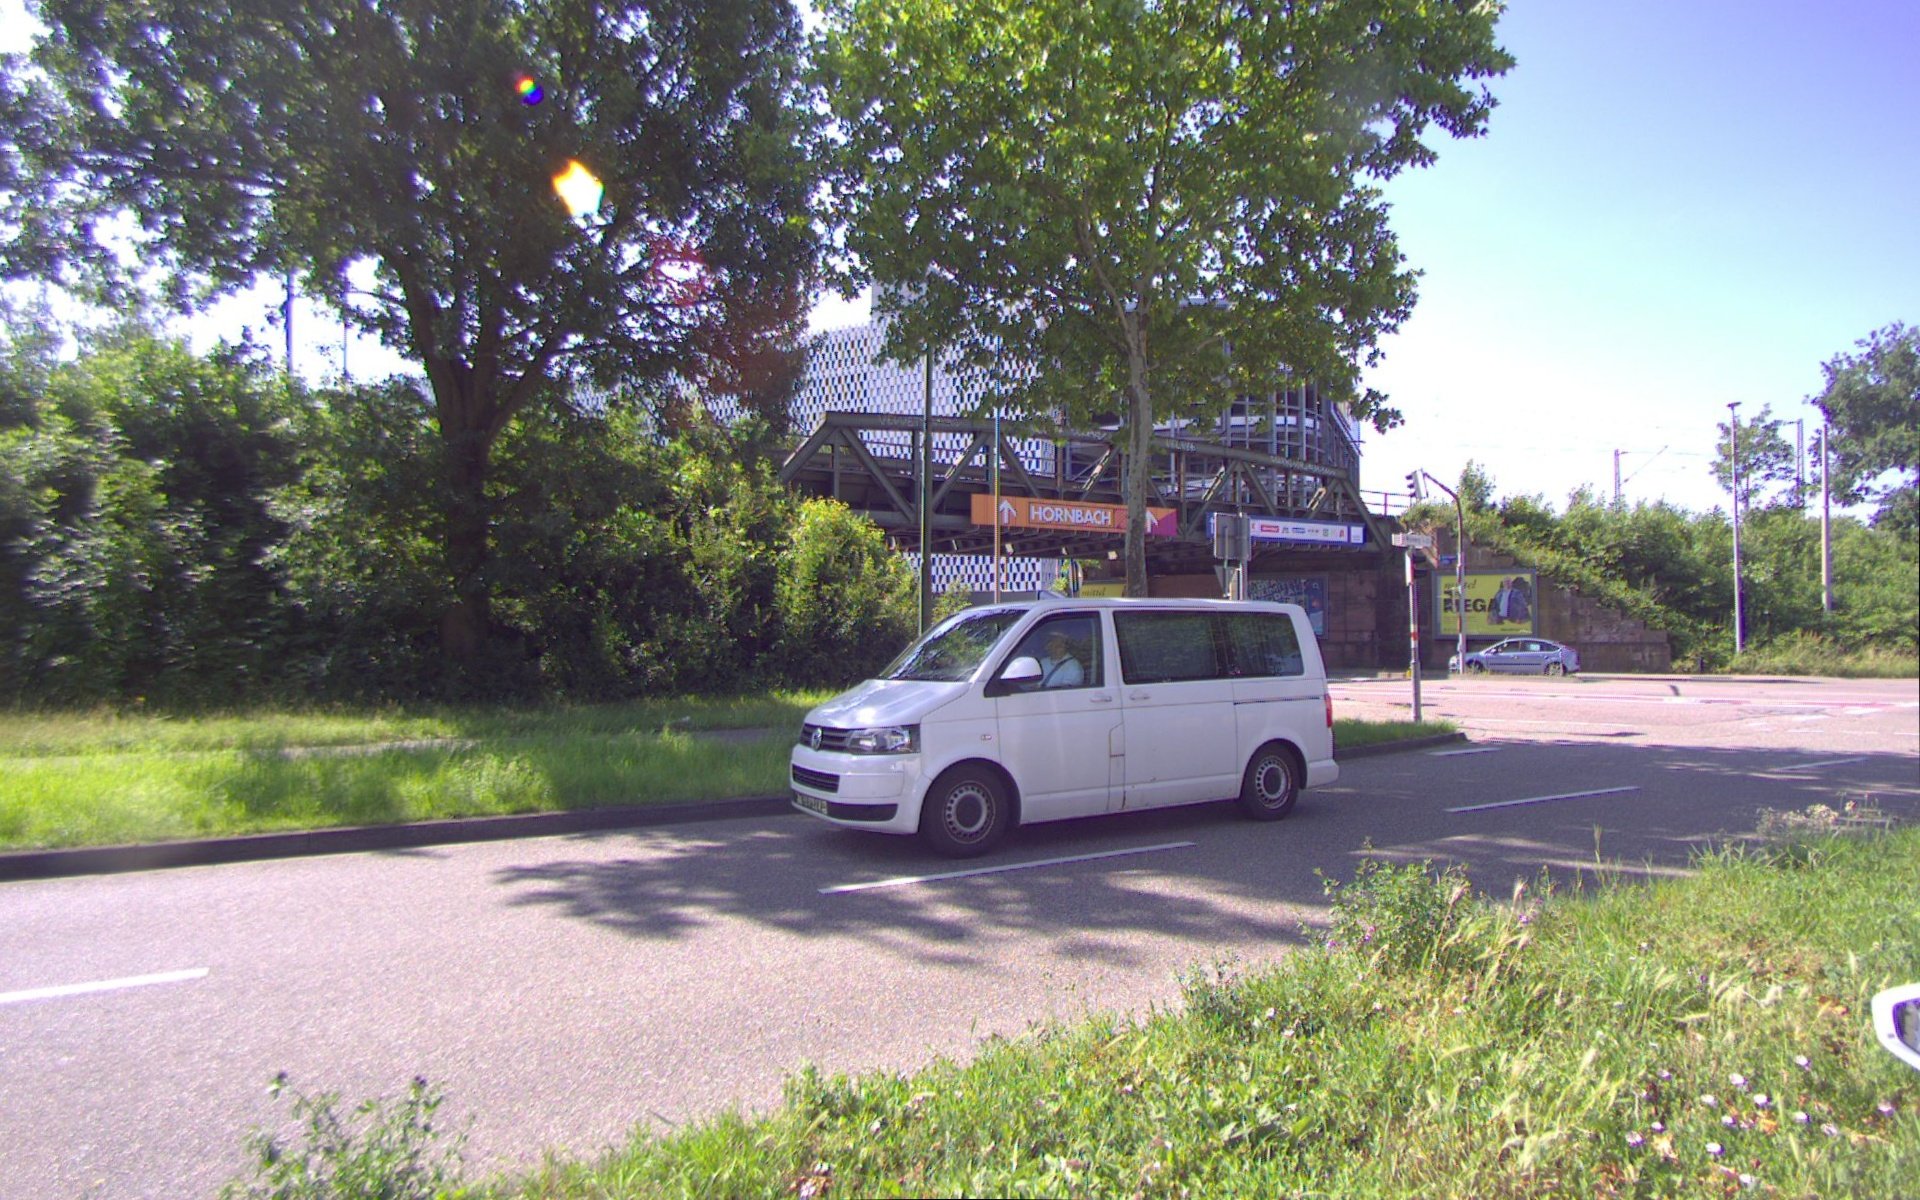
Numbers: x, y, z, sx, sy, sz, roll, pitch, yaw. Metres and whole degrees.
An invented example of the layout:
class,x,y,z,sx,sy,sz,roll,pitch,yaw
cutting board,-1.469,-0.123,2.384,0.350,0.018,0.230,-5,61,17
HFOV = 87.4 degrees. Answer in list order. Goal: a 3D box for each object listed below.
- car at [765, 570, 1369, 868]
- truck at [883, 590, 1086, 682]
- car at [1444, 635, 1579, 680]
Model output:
class,x,y,z,sx,sy,sz,roll,pitch,yaw
car,1.019,0.880,8.589,4.929,1.915,1.985,2,-4,-30
truck,0.744,1.090,32.486,6.286,2.748,1.998,1,-1,26
car,20.226,2.084,37.035,4.146,1.427,1.916,1,-1,23
